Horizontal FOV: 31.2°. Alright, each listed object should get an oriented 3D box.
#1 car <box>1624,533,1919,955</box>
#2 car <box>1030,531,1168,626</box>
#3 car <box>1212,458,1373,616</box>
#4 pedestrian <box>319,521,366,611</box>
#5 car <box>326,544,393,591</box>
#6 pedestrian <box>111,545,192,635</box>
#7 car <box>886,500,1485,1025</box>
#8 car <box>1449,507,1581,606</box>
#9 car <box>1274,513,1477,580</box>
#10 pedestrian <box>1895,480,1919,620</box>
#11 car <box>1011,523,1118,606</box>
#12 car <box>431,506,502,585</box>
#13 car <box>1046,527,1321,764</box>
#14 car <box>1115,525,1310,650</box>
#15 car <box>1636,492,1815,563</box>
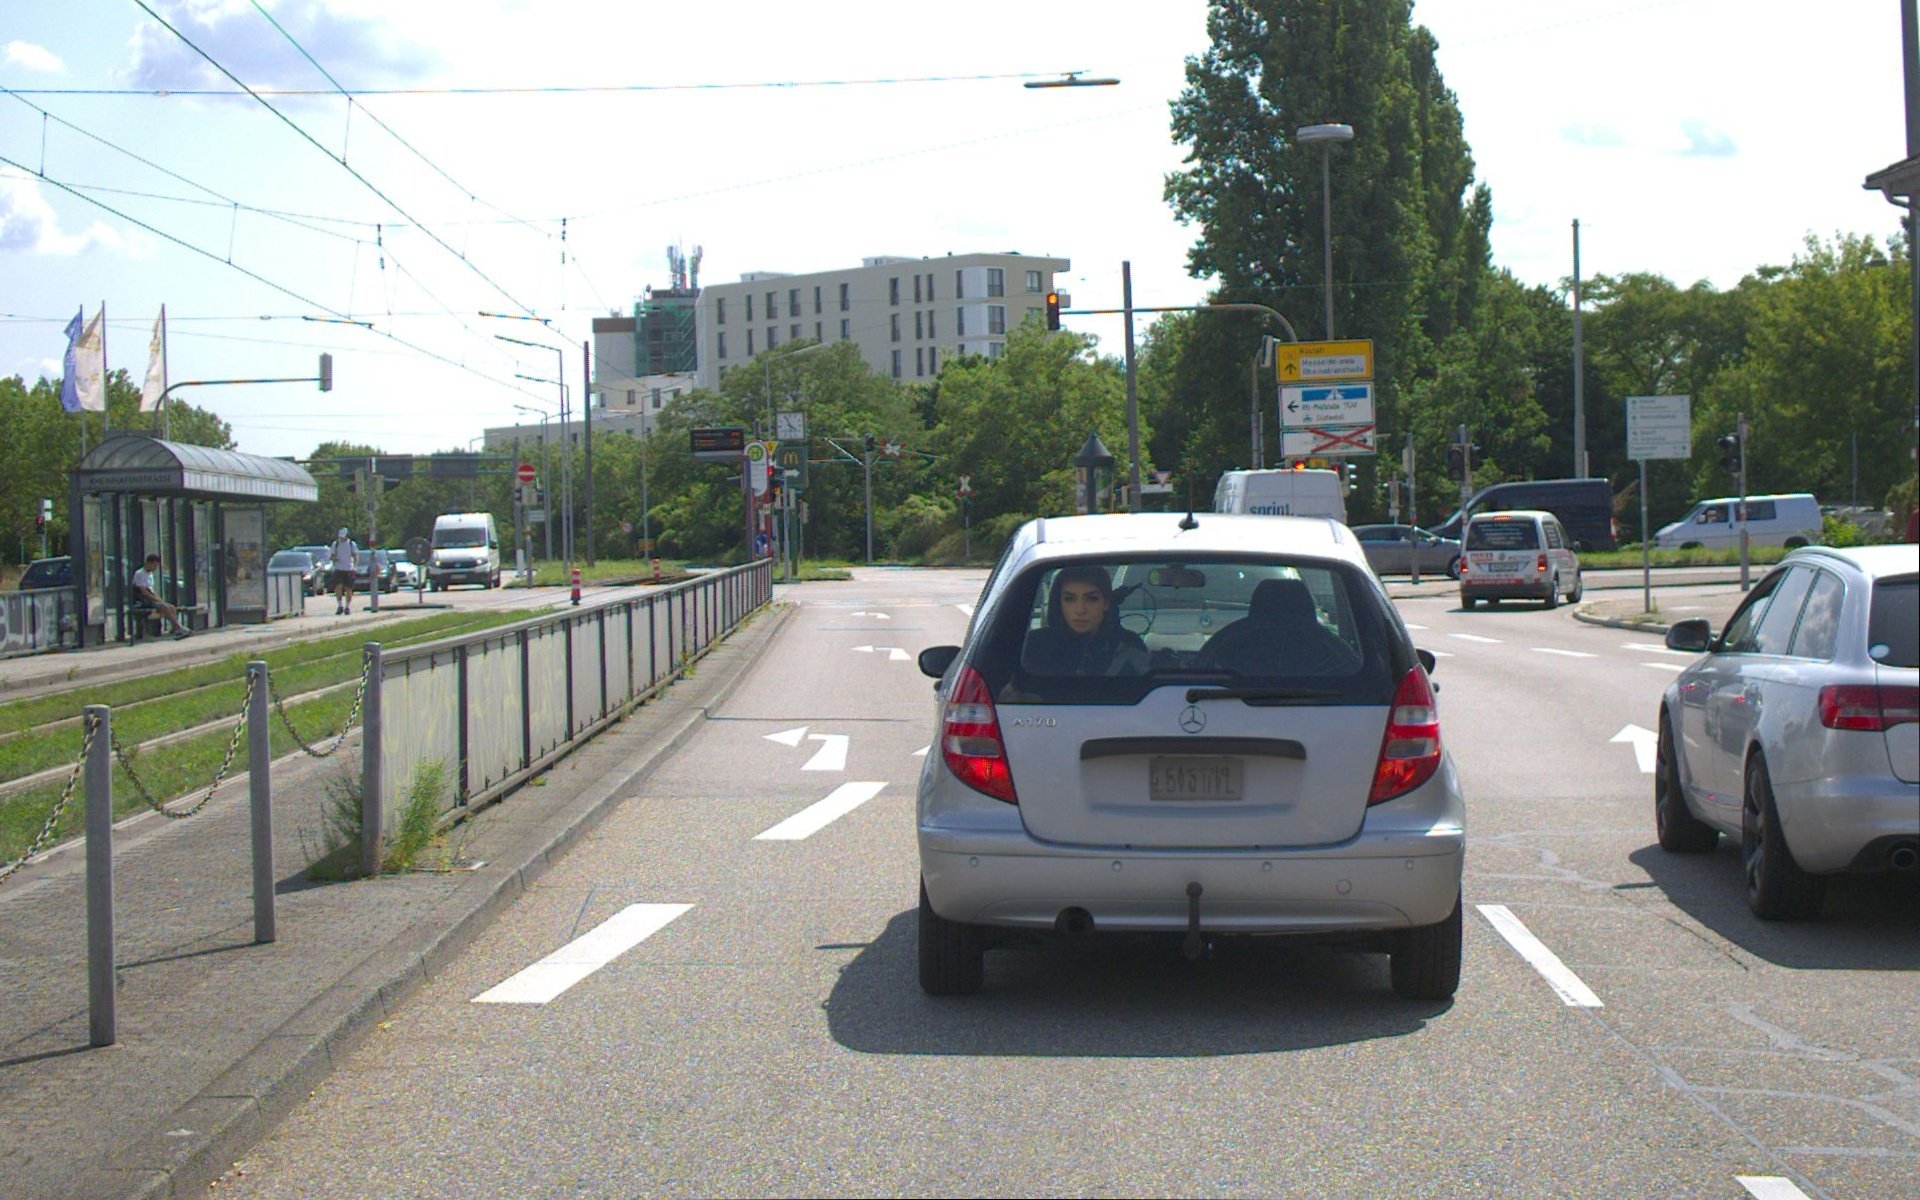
[{"bbox_3d":[4.002,0.473,14.505,1.855,1.487,4.535,0,1,5],"label":"car"},{"bbox_3d":[2.122,-0.363,53.527,1.869,1.415,4.100,0,1,-2],"label":"car"},{"bbox_3d":[5.630,-1.093,58.833,2.041,2.549,5.232,-1,1,-2],"label":"car"},{"bbox_3d":[-12.402,-0.686,69.033,0.807,1.789,0.709,-1,1,-4],"label":"pedestrian"},{"bbox_3d":[-20.024,-1.099,114.701,1.896,1.536,3.730,0,1,-5],"label":"car"},{"bbox_3d":[-12.463,-0.157,53.021,1.058,1.371,0.860,0,1,-1],"label":"pedestrian"},{"bbox_3d":[0.811,0.451,12.462,1.787,1.571,4.094,-1,1,4],"label":"car"},{"bbox_3d":[10.384,-0.802,64.154,1.886,1.725,4.091,-2,0,16],"label":"car"},{"bbox_3d":[10.328,-1.334,85.684,4.863,1.654,2.000,0,1,2],"label":"car"},{"bbox_3d":[12.496,-0.664,44.099,0.721,1.776,0.703,-4,1,1],"label":"pedestrian"},{"bbox_3d":[1.918,-0.694,64.237,1.744,1.494,4.380,0,1,-2],"label":"car"},{"bbox_3d":[-16.550,-1.818,115.509,1.993,2.597,4.879,0,1,-4],"label":"car"},{"bbox_3d":[1.492,0.241,24.153,1.739,1.487,4.630,0,1,2],"label":"car"},{"bbox_3d":[3.010,-0.196,41.921,1.887,1.443,4.828,0,1,-2],"label":"car"},{"bbox_3d":[21.612,-2.052,97.188,4.677,1.929,2.000,-1,1,4],"label":"car"}]
